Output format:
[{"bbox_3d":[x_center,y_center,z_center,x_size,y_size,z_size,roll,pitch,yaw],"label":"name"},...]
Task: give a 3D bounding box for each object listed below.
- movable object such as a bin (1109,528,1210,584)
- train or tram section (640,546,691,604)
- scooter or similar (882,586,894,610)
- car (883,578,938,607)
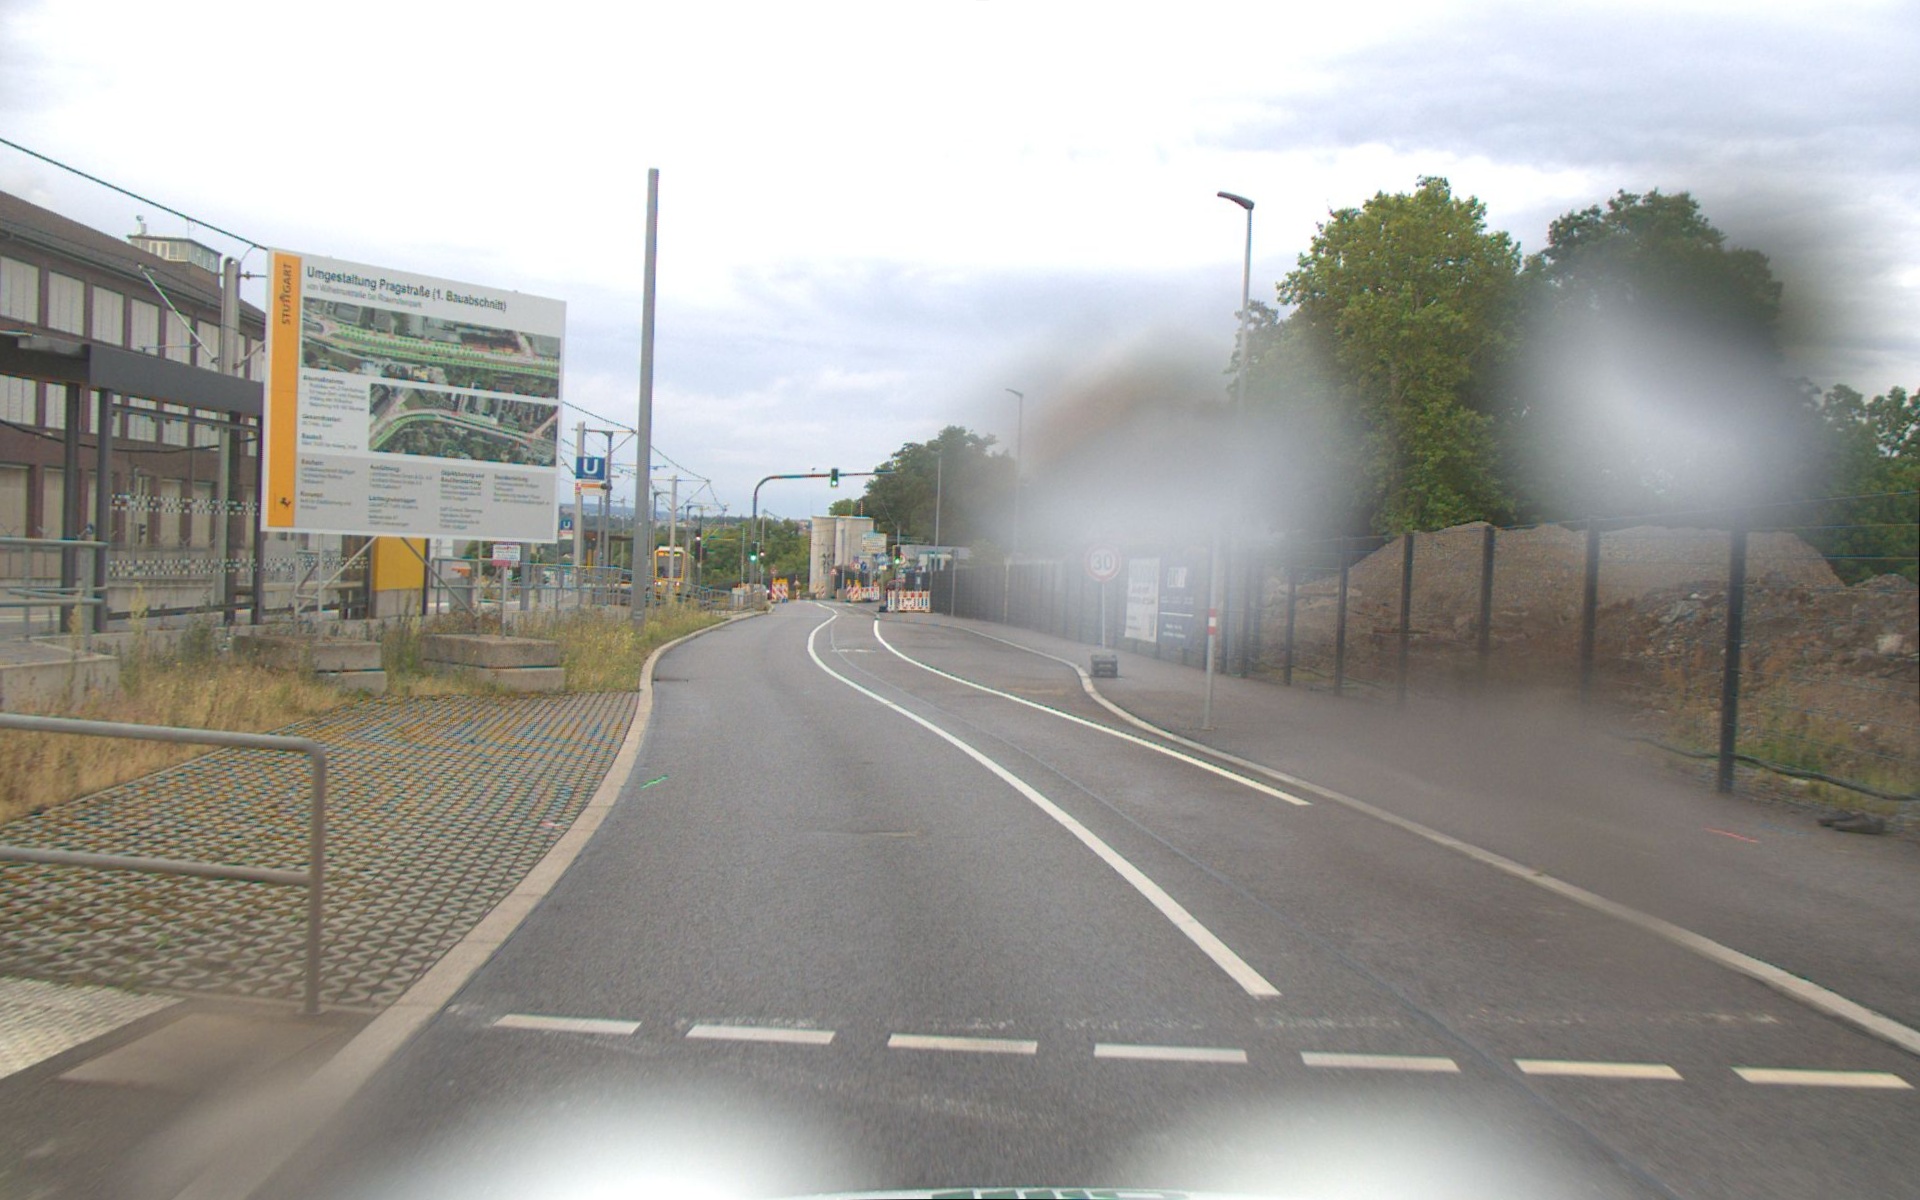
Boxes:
[{"bbox_3d":[22.417,-4.941,186.180,10.999,6.100,3.491,1,0,1],"label":"movable object such as a bin"},{"bbox_3d":[-22.350,-1.855,126.511,2.900,3.953,19.538,2,0,-8],"label":"train or tram section"},{"bbox_3d":[-4.360,-0.133,100.068,0.602,1.375,1.912,1,0,0],"label":"scooter or similar"},{"bbox_3d":[-3.157,-0.481,106.083,1.783,1.825,4.406,1,0,24],"label":"car"}]
